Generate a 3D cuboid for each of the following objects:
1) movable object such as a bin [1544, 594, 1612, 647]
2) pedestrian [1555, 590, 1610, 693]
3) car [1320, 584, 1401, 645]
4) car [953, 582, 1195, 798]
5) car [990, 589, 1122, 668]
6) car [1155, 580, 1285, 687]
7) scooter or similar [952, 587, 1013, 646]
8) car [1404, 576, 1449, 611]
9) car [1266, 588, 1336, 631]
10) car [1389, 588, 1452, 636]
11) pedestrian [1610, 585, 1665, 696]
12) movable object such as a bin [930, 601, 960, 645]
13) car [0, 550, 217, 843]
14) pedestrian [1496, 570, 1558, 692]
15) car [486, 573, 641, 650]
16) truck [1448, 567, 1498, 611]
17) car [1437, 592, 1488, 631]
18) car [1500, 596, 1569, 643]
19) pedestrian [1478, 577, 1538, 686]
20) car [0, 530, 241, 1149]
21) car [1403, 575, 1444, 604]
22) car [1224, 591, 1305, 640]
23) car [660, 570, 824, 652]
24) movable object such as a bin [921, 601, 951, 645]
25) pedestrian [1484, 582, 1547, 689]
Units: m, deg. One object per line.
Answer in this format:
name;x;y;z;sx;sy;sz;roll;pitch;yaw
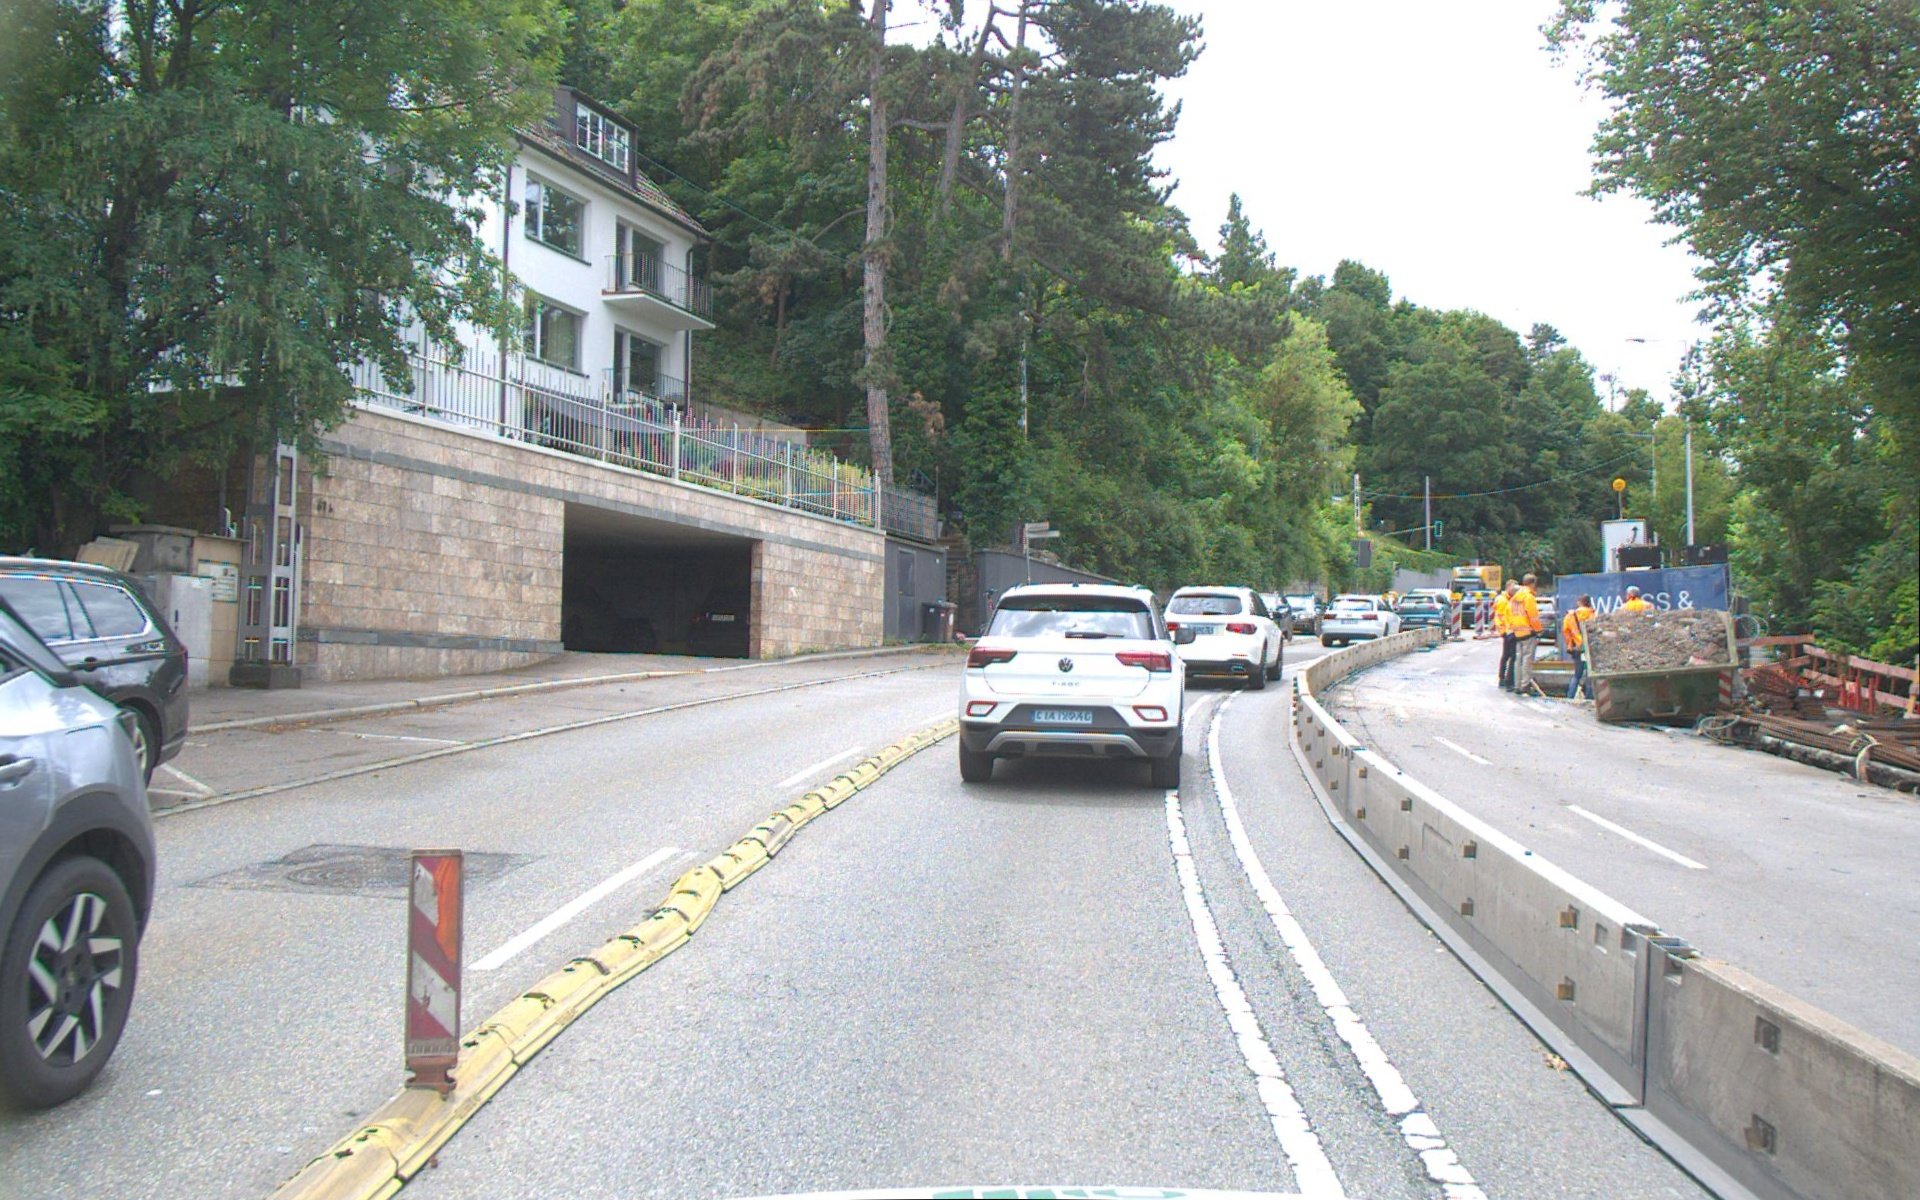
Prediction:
movable object such as a bin;17.499;0.561;46.894;1.364;1.450;1.908;1;0;6
pedestrian;10.076;0.656;26.767;0.767;1.636;0.667;0;0;25
car;11.815;0.393;48.648;1.773;1.692;4.000;0;0;22
car;1.107;0.632;14.184;1.771;1.558;4.003;1;1;8
car;2.021;0.534;33.568;1.730;1.460;4.311;1;0;17
car;4.520;0.515;28.299;1.771;1.692;4.003;0;0;15
scooter or similar;0.495;0.357;36.823;1.283;1.277;0.466;1;0;-5
car;23.451;-0.333;83.088;1.773;1.692;4.000;0;0;22
car;12.740;0.337;61.576;1.732;1.477;4.308;2;1;22
car;16.865;0.421;60.445;1.773;1.692;4.000;0;0;22
pedestrian;10.709;0.624;26.132;0.767;1.717;0.785;0;0;25
movable object such as a bin;-0.351;0.533;38.203;0.537;0.994;0.510;0;0;22
car;-5.778;0.457;8.203;1.699;1.476;4.686;4;0;4
pedestrian;9.203;0.496;26.856;0.676;1.940;0.825;0;0;-3
car;-8.066;0.274;33.985;1.732;1.444;3.548;2;-2;11
truck;39.429;-0.804;127.052;2.845;3.210;7.581;0;0;23
car;22.239;0.490;73.121;1.773;1.692;4.000;0;0;22
car;17.694;0.569;50.846;1.758;1.392;3.999;0;0;23
pedestrian;9.541;0.534;28.824;0.857;1.854;0.879;0;0;9
car;-3.280;0.576;3.319;1.730;1.544;4.027;2;0;3
car;25.344;-0.558;90.368;1.731;1.477;4.309;2;1;21
car;10.003;0.477;54.108;1.732;1.477;4.308;2;1;22
car;-4.336;0.258;33.471;1.745;1.478;3.703;2;-2;20
movable object such as a bin;-0.550;0.530;37.688;0.537;0.994;0.510;0;0;22
pedestrian;9.347;0.582;27.840;0.857;1.761;0.879;0;0;9
